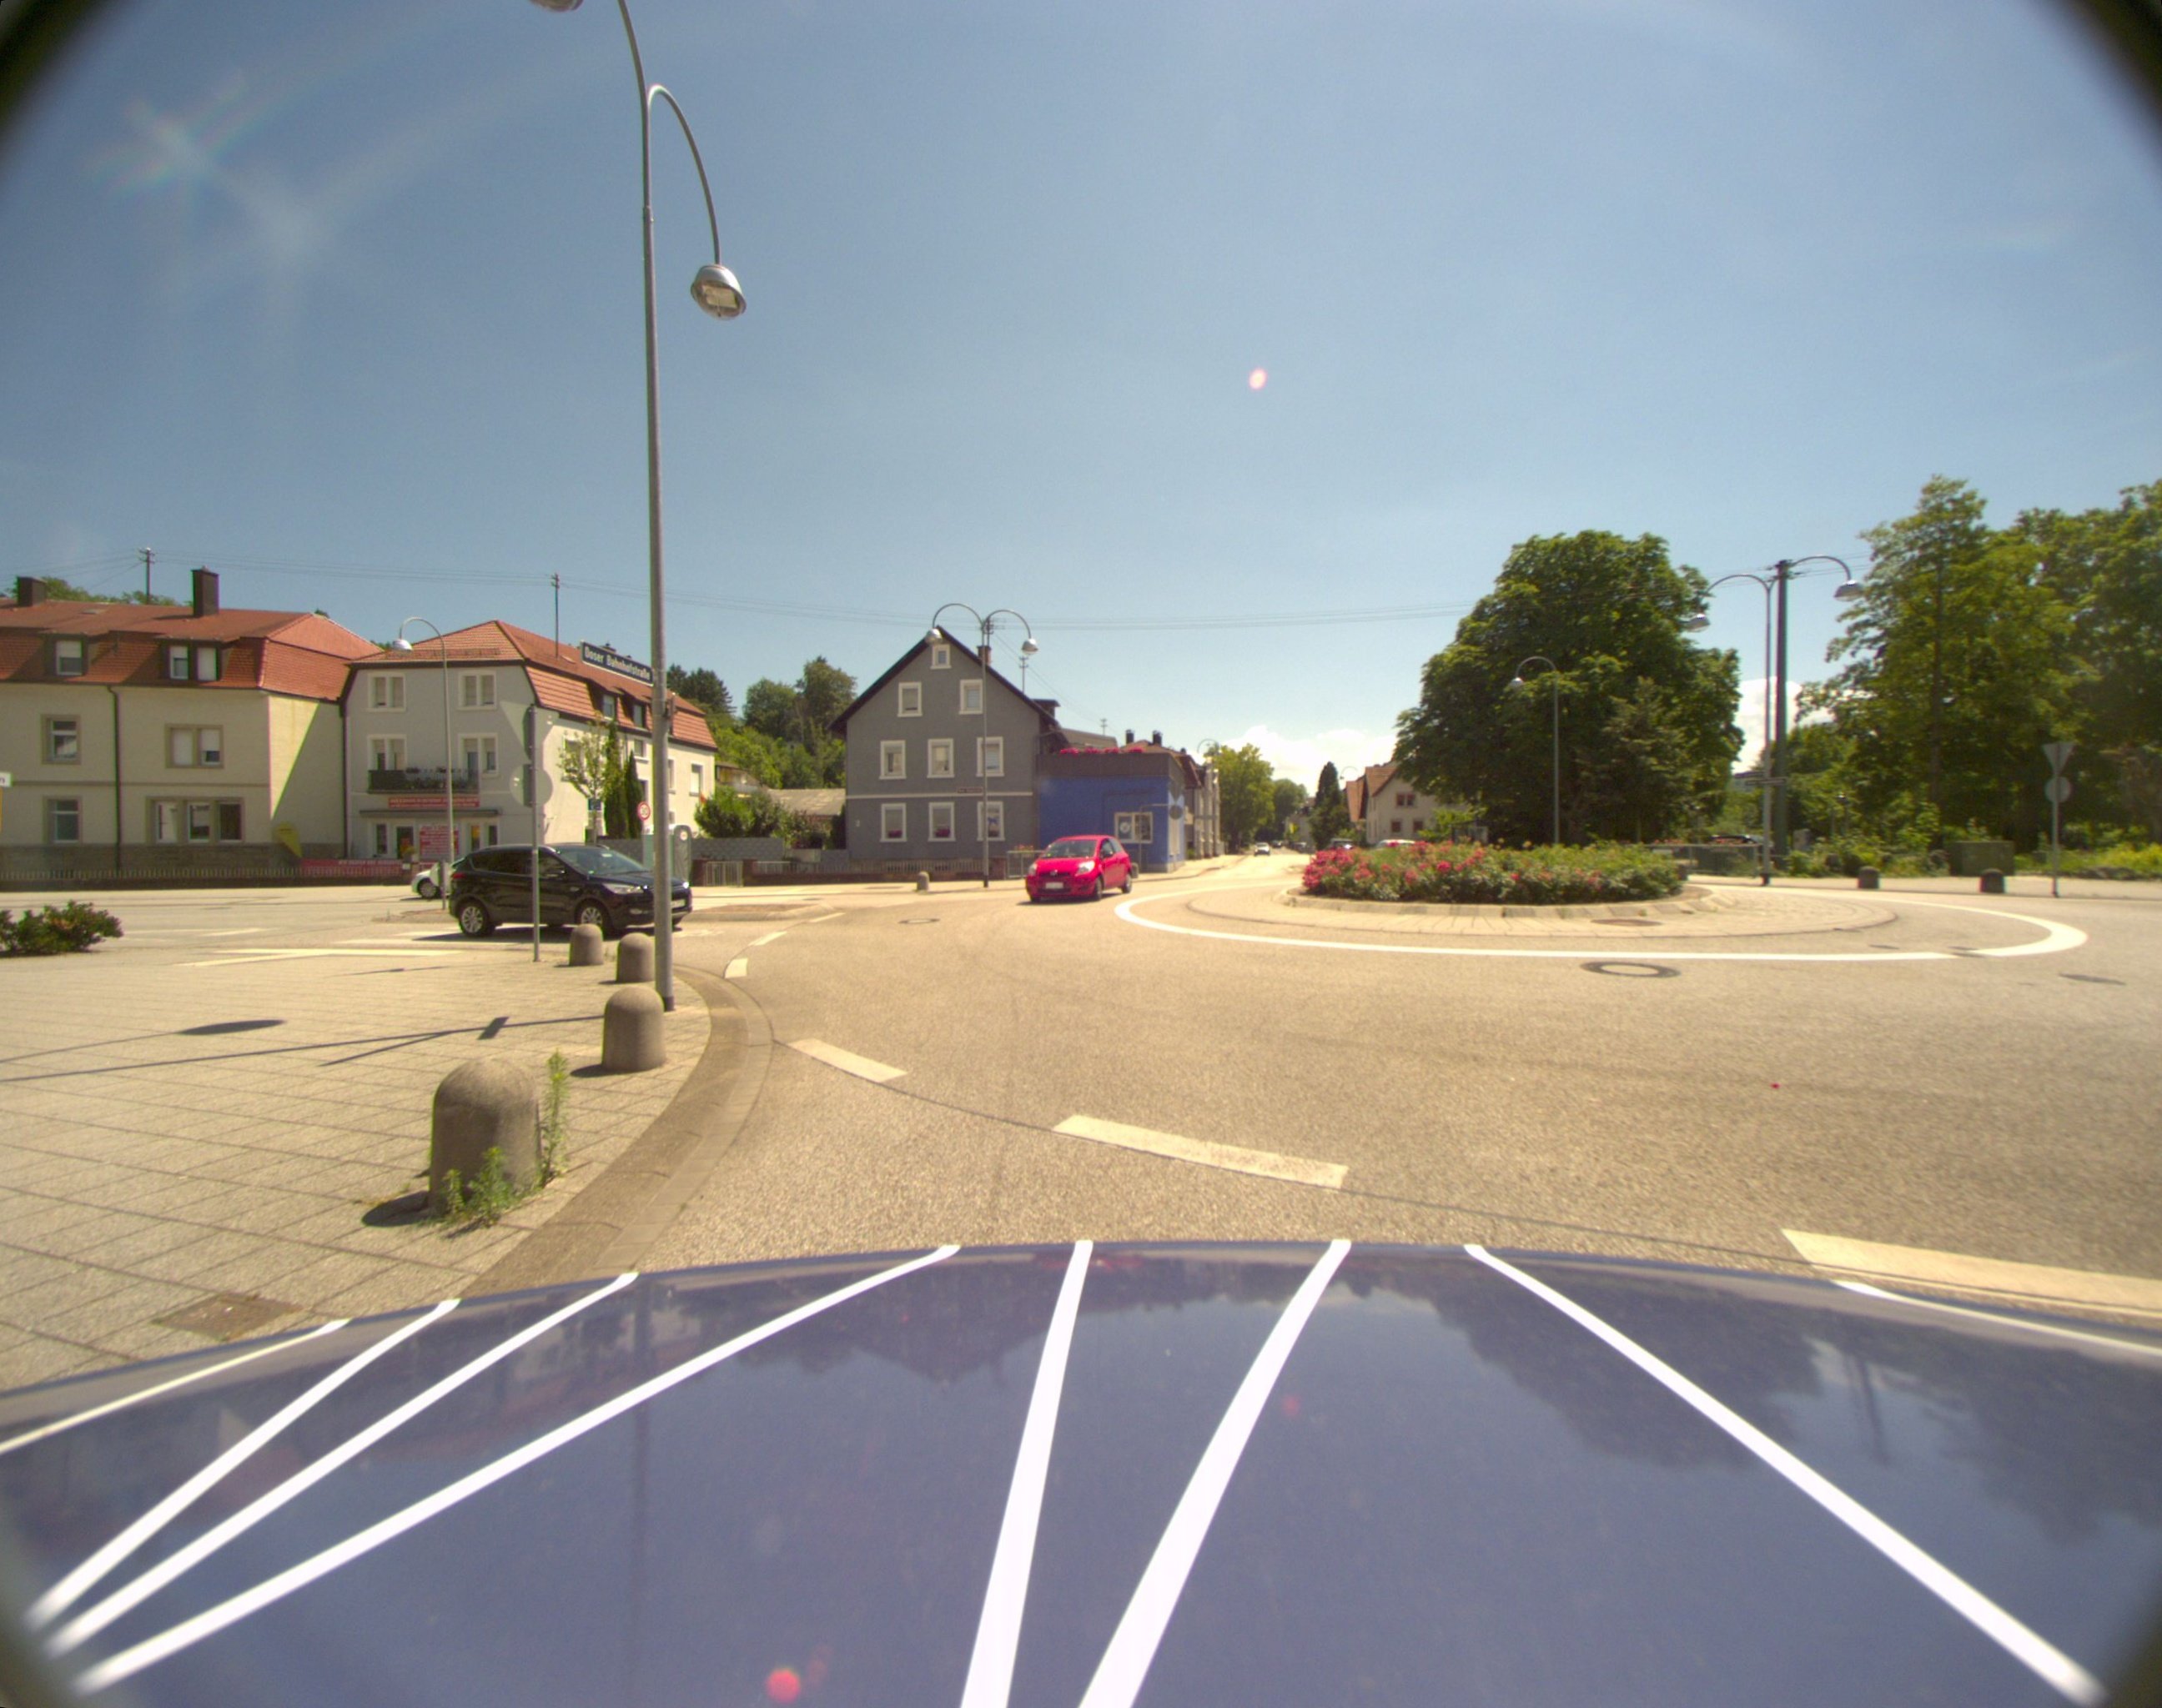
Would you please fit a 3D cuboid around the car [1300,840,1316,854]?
[{"bbox_3d":[34.168,-1.044,114.368,1.996,2.001,4.005,1,-1,13],"label":"car"}]

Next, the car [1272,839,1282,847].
[{"bbox_3d":[45.800,-2.550,177.615,1.737,1.695,4.004,-1,-1,10],"label":"car"}]

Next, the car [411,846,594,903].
[{"bbox_3d":[-18.840,0.628,24.931,4.284,1.576,1.998,-1,5,-2],"label":"car"}]

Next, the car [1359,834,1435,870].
[{"bbox_3d":[14.573,-0.158,35.327,1.931,1.374,4.286,-2,4,3],"label":"car"}]

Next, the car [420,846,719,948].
[{"bbox_3d":[-9.443,0.734,14.185,4.519,1.679,2.001,-1,2,12],"label":"car"}]

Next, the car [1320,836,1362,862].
[{"bbox_3d":[16.851,-0.307,49.452,1.996,1.553,4.170,2,0,11],"label":"car"}]

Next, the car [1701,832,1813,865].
[{"bbox_3d":[35.374,-0.309,39.898,1.844,1.592,3.993,-1,1,-17],"label":"car"}]

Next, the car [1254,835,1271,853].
[{"bbox_3d":[22.505,-1.209,94.294,1.996,2.001,4.005,1,-1,13],"label":"car"}]

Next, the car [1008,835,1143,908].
[{"bbox_3d":[0.004,0.355,18.410,1.831,1.524,4.005,-3,0,22],"label":"car"}]

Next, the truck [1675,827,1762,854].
[{"bbox_3d":[60.983,-1.214,72.789,2.270,2.428,6.200,2,-1,-45],"label":"truck"}]
